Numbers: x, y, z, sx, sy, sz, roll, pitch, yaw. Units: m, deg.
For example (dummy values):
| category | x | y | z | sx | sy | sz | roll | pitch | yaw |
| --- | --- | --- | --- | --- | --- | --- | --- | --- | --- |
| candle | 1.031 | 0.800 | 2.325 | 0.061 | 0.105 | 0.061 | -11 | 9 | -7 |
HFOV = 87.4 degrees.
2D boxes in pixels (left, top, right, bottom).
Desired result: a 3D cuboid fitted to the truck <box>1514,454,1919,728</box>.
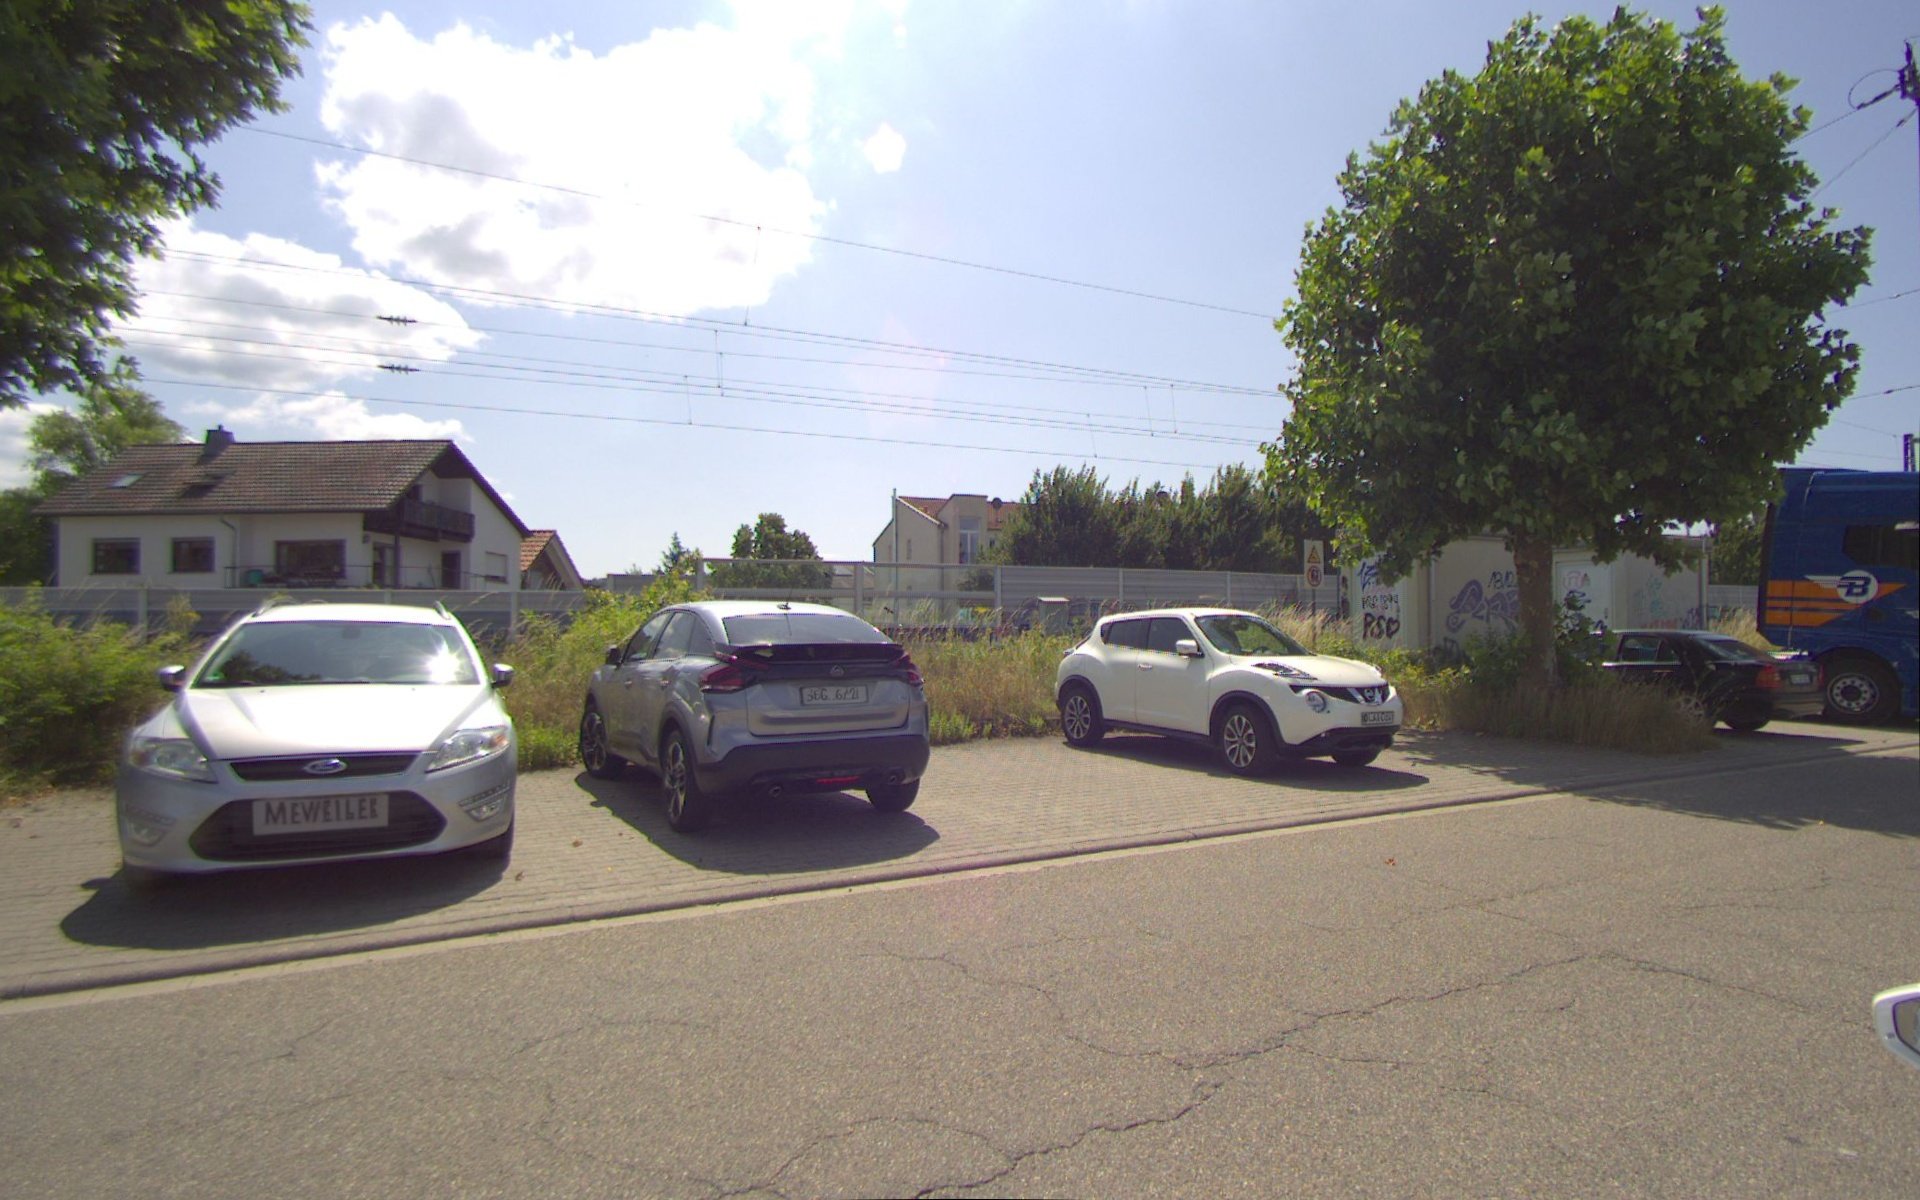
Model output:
| category | x | y | z | sx | sy | sz | roll | pitch | yaw |
| --- | --- | --- | --- | --- | --- | --- | --- | --- | --- |
| truck | 13.410 | -0.059 | 17.120 | 2.633 | 3.873 | 6.583 | 1 | -2 | -30 |

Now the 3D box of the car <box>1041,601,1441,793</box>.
| category | x | y | z | sx | sy | sz | roll | pitch | yaw |
| --- | --- | --- | --- | --- | --- | --- | --- | --- | --- |
| car | 2.767 | 0.887 | 10.752 | 1.830 | 1.639 | 3.950 | 1 | -2 | -31 |

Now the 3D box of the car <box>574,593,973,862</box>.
| category | x | y | z | sx | sy | sz | roll | pitch | yaw |
| --- | --- | --- | --- | --- | --- | --- | --- | --- | --- |
| car | -1.743 | 0.801 | 8.107 | 1.976 | 1.568 | 3.968 | 1 | -2 | -30 |

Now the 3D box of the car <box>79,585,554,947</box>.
| category | x | y | z | sx | sy | sz | roll | pitch | yaw |
| --- | --- | --- | --- | --- | --- | --- | --- | --- | --- |
| car | -3.976 | 0.751 | 6.686 | 1.902 | 1.553 | 4.320 | 0 | -1 | -28 |

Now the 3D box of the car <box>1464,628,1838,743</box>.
| category | x | y | z | sx | sy | sz | roll | pitch | yaw |
| --- | --- | --- | --- | --- | --- | --- | --- | --- | --- |
| car | 9.955 | 1.130 | 14.836 | 1.850 | 1.413 | 4.189 | 1 | -1 | -30 |
